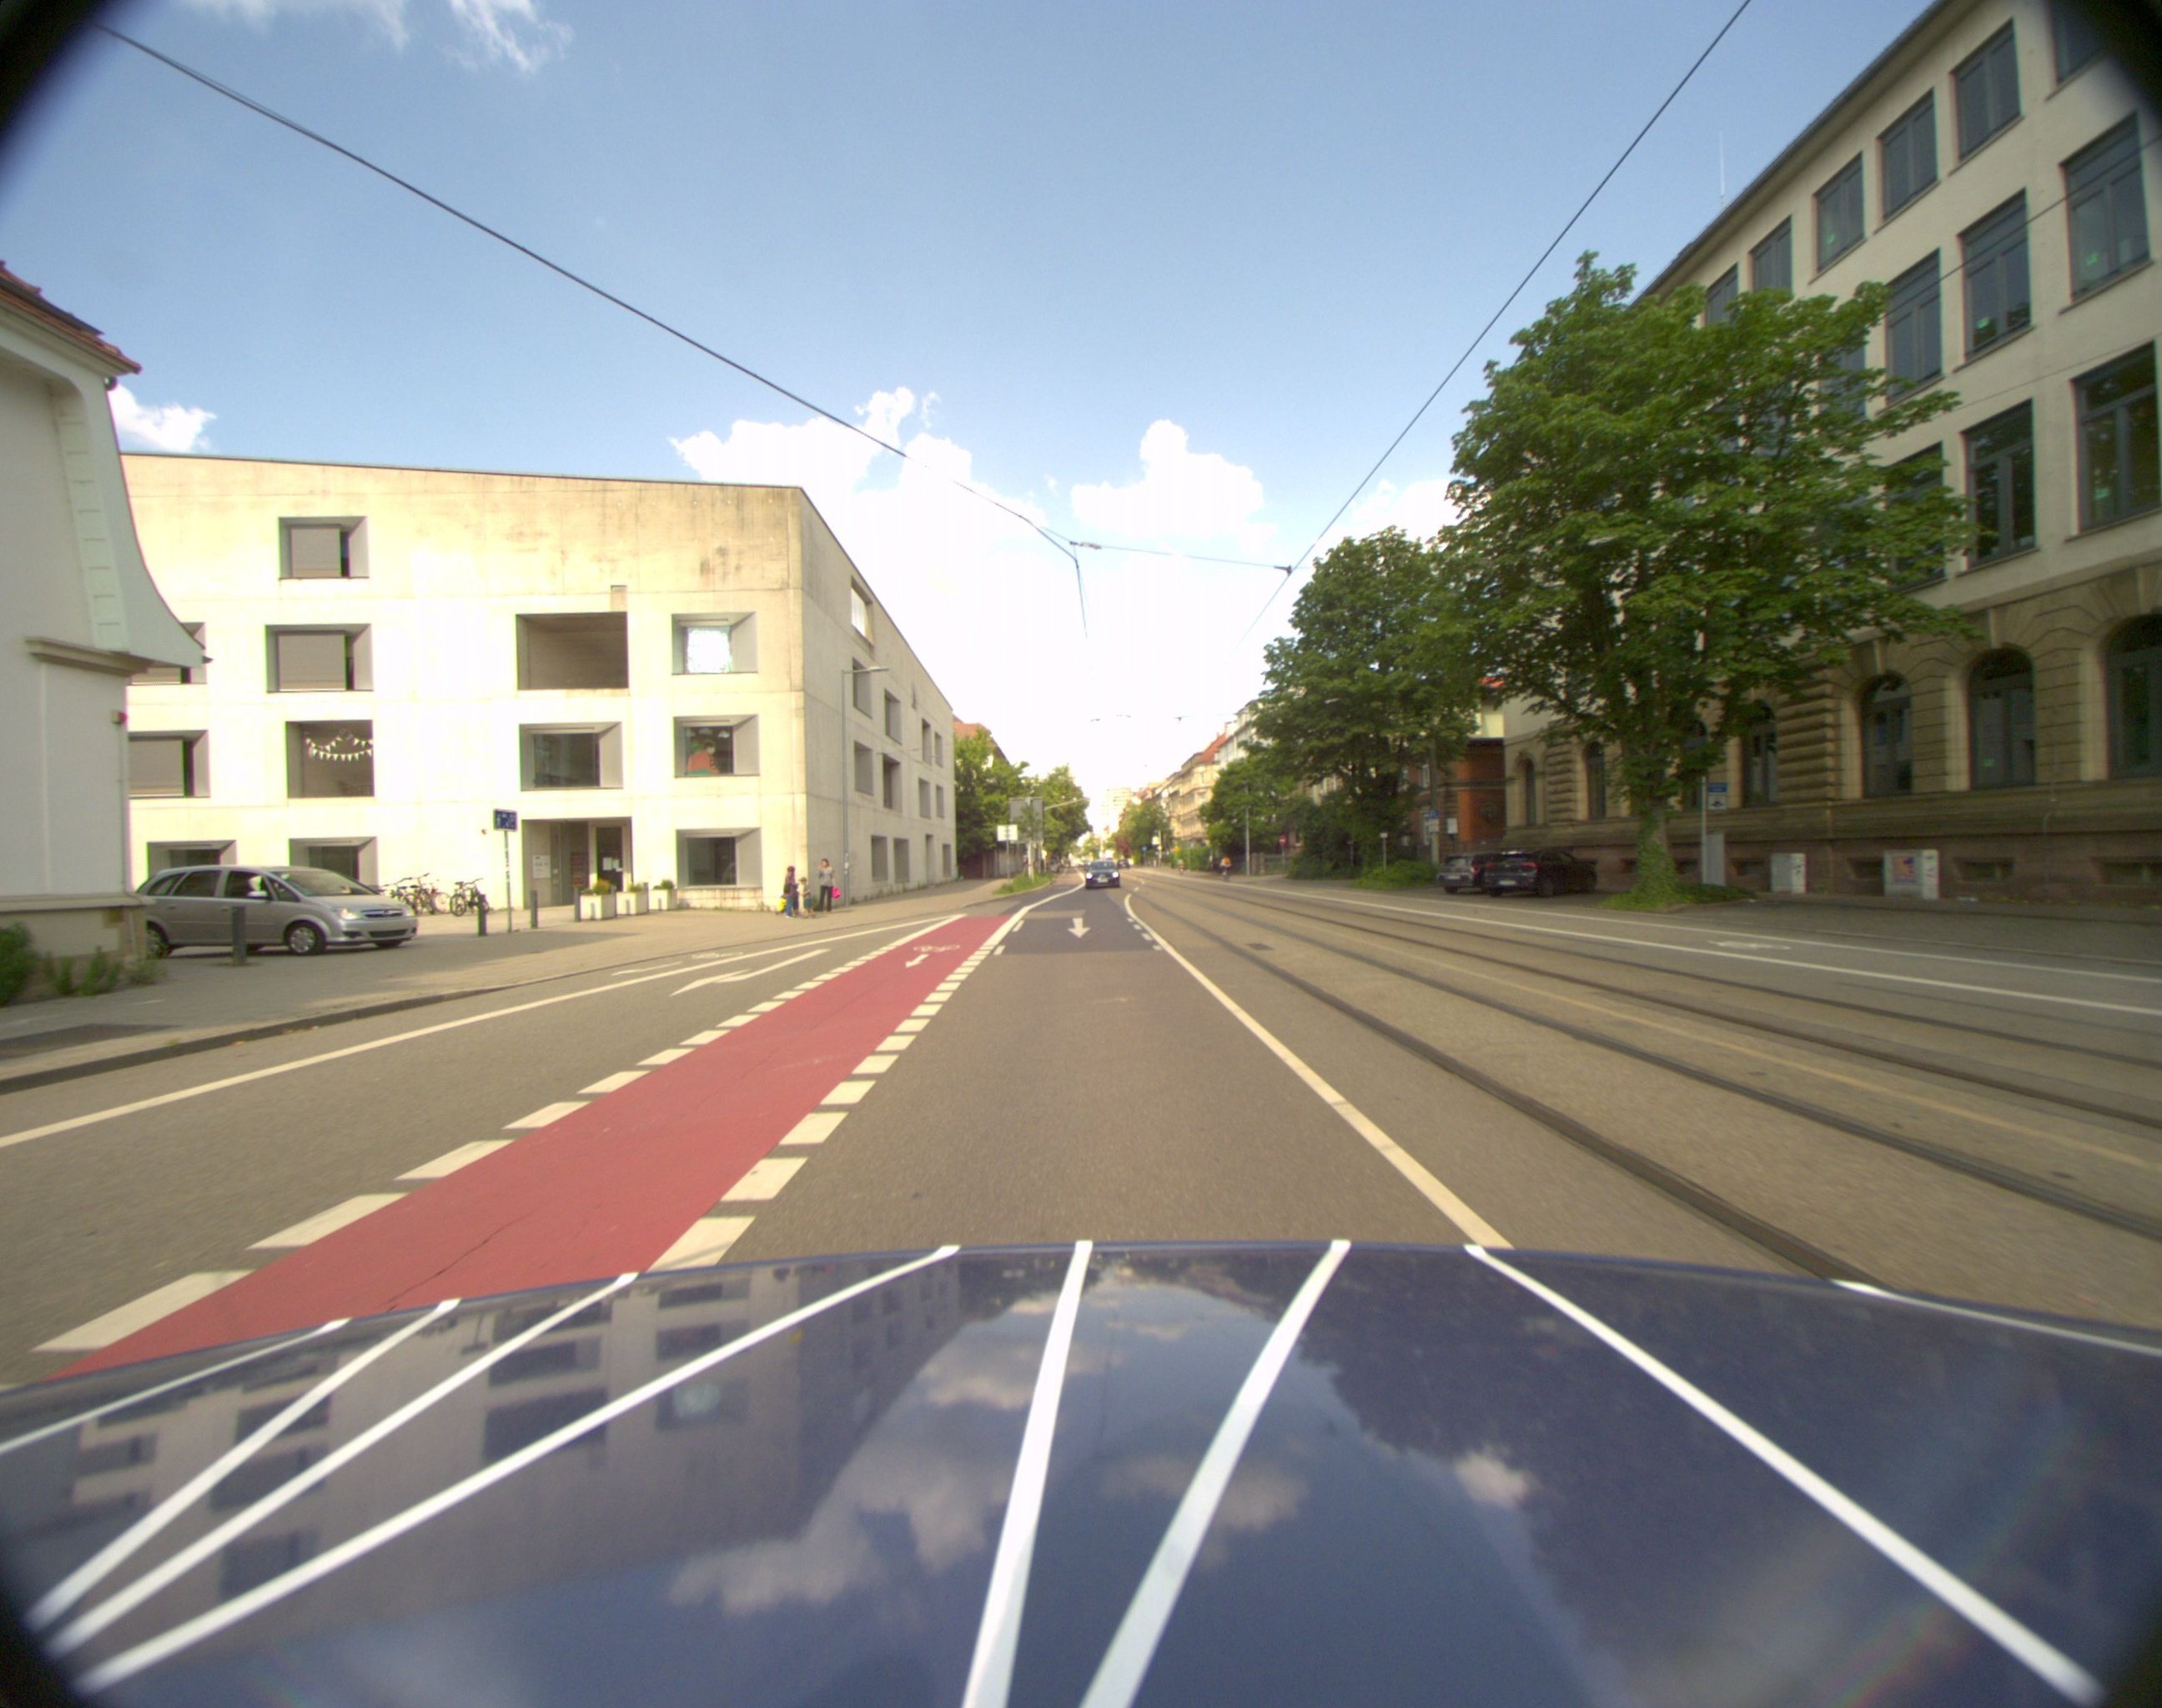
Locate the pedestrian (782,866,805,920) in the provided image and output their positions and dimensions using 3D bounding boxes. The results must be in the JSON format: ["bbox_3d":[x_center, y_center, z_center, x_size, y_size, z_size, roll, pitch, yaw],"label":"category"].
[{"bbox_3d":[-8.485,1.139,22.414,0.521,1.570,0.548,0,-1,-10],"label":"pedestrian"}]

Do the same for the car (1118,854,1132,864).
[{"bbox_3d":[6.280,0.681,108.036,1.693,1.393,3.930,1,0,-1],"label":"car"}]

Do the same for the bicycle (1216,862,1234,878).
[{"bbox_3d":[9.166,1.023,48.395,0.701,1.011,1.819,0,0,-4],"label":"bicycle"}]

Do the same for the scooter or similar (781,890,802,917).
[{"bbox_3d":[-8.847,1.522,23.245,0.551,0.795,0.267,2,-2,-24],"label":"scooter or similar"}]

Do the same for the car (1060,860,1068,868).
[{"bbox_3d":[-3.241,1.835,145.809,1.589,1.436,3.898,-2,0,-1],"label":"car"}]

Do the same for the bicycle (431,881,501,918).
[{"bbox_3d":[-18.356,1.342,22.739,0.701,1.011,1.819,0,0,-4],"label":"bicycle"}]

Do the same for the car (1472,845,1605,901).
[{"bbox_3d":[14.879,0.576,24.673,4.248,1.541,1.923,-2,0,-32],"label":"car"}]

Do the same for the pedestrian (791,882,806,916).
[{"bbox_3d":[-8.577,1.367,23.040,0.343,1.004,0.397,0,-1,-9],"label":"pedestrian"}]

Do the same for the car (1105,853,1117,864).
[{"bbox_3d":[5.517,0.783,139.991,1.903,1.896,5.383,-1,0,-2],"label":"car"}]

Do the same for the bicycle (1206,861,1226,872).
[{"bbox_3d":[12.090,1.138,68.302,1.145,0.903,2.988,-4,0,-1],"label":"bicycle"}]

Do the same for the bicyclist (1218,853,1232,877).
[{"bbox_3d":[9.161,0.688,48.418,0.693,1.510,0.867,0,0,-4],"label":"bicyclist"}]

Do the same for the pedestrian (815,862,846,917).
[{"bbox_3d":[-7.947,1.115,24.131,0.748,1.714,0.685,1,-1,-37],"label":"pedestrian"}]

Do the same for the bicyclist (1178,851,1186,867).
[{"bbox_3d":[9.659,0.472,72.786,0.600,1.484,0.882,4,0,2],"label":"bicyclist"}]

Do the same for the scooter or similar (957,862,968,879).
[{"bbox_3d":[-8.270,1.155,52.934,0.323,1.174,1.149,-1,0,12],"label":"scooter or similar"}]

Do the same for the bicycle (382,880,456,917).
[{"bbox_3d":[-19.685,1.310,22.648,0.701,1.011,1.819,0,0,-4],"label":"bicycle"}]

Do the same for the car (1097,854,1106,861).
[{"bbox_3d":[4.686,0.859,173.257,1.732,1.531,4.276,0,0,-2],"label":"car"}]

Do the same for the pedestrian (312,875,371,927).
[{"bbox_3d":[-18.268,1.142,18.780,0.908,1.194,0.876,-1,0,35],"label":"pedestrian"}]

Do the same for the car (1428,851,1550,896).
[{"bbox_3d":[14.756,0.673,27.427,4.247,1.438,1.790,-1,0,-28],"label":"car"}]

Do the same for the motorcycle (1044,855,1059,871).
[{"bbox_3d":[-2.987,0.909,76.767,0.982,1.532,2.442,-1,0,11],"label":"motorcycle"}]

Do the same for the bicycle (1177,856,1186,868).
[{"bbox_3d":[9.633,0.778,72.821,0.604,1.091,2.023,4,0,2],"label":"bicycle"}]

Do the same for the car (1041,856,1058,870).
[{"bbox_3d":[-3.439,0.943,84.001,1.711,1.489,4.788,-1,0,-1],"label":"car"}]

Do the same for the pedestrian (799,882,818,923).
[{"bbox_3d":[-7.966,1.406,22.240,0.422,1.193,0.406,0,-1,-5],"label":"pedestrian"}]

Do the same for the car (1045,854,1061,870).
[{"bbox_3d":[-3.358,0.969,92.138,1.900,1.929,4.950,-1,0,-1],"label":"car"}]

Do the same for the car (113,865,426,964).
[{"bbox_3d":[-14.387,1.049,13.617,3.889,1.595,1.666,-1,-1,2],"label":"car"}]

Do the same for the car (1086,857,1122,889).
[{"bbox_3d":[1.159,0.948,40.096,1.693,1.567,4.156,-1,0,-1],"label":"car"}]

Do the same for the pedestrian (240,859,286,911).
[{"bbox_3d":[-19.477,0.732,18.105,0.591,1.194,0.528,-1,0,-28],"label":"pedestrian"}]
